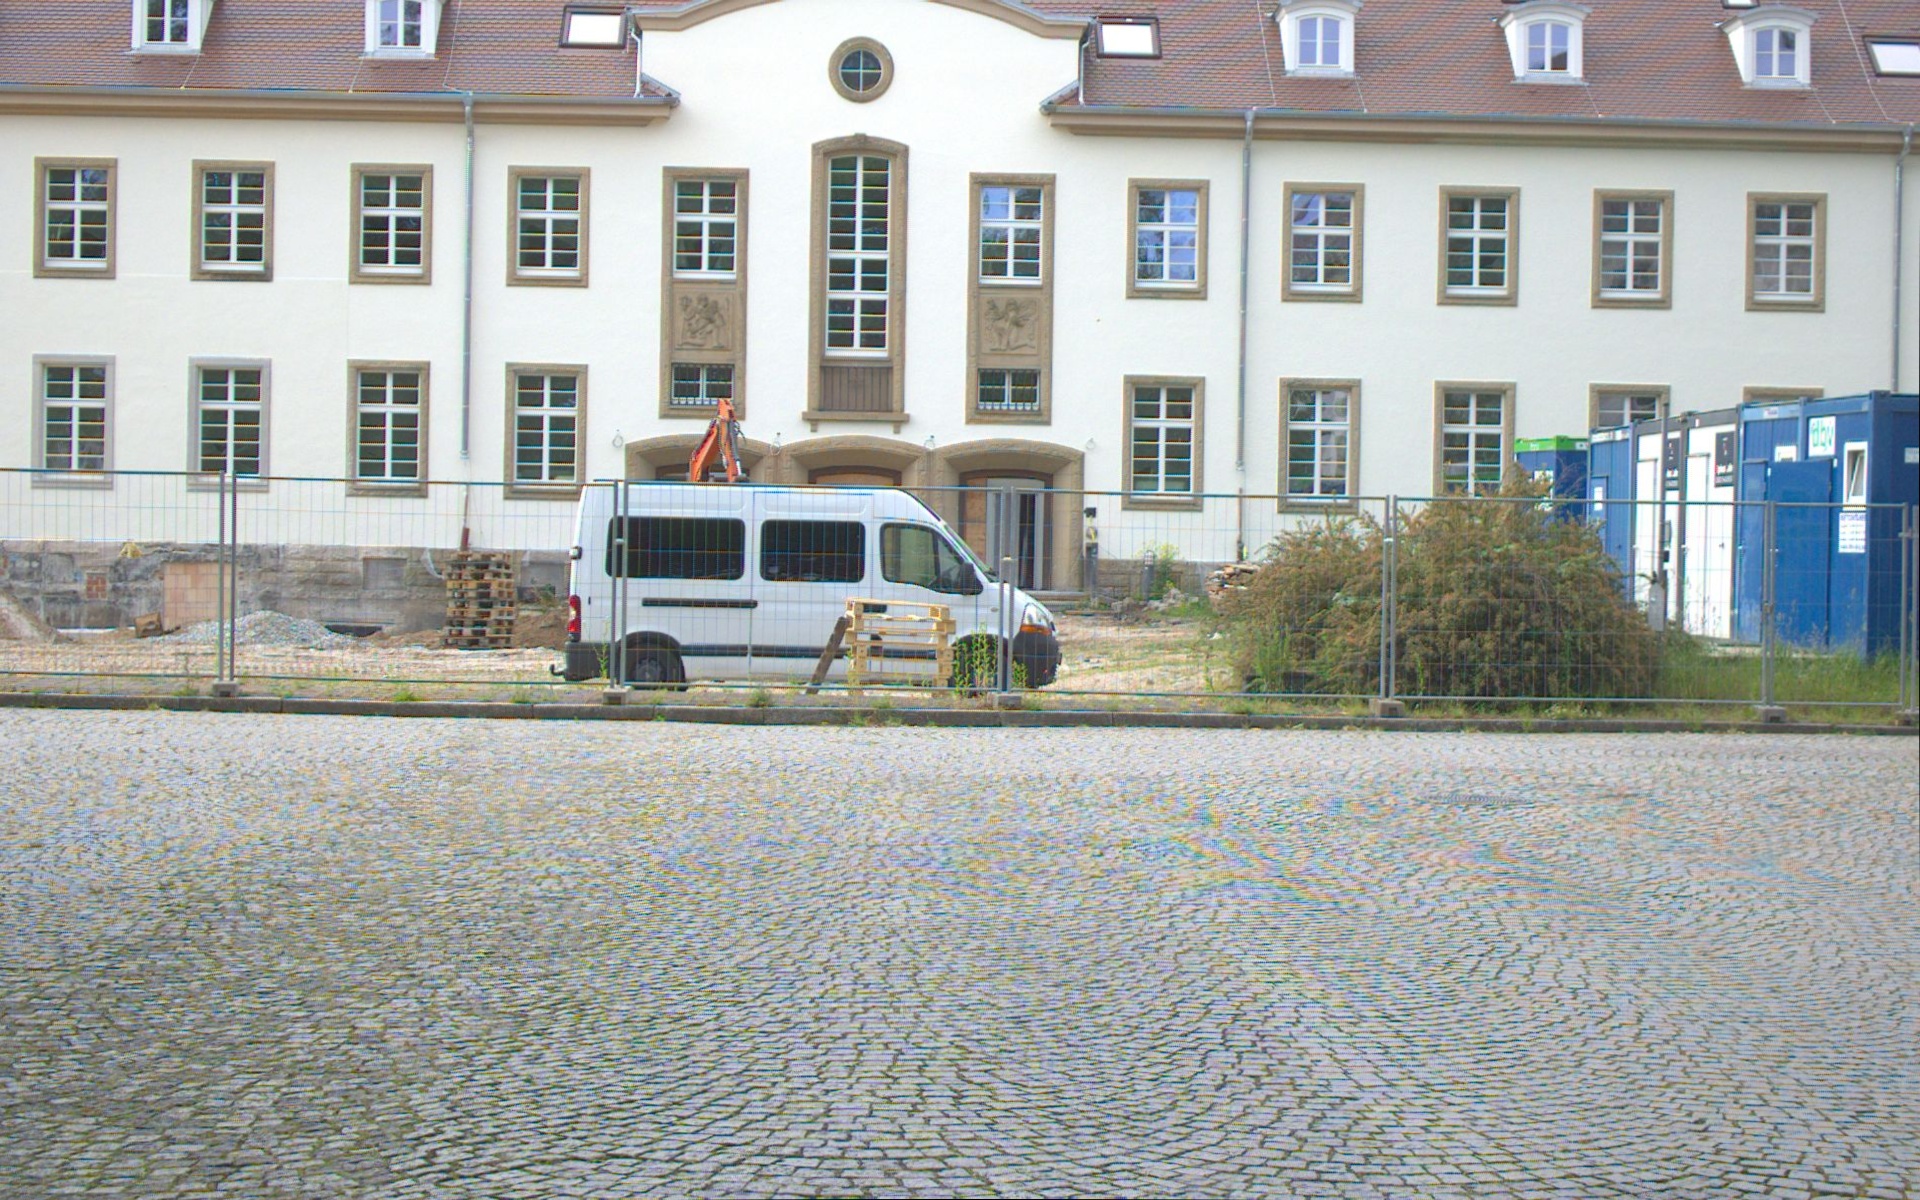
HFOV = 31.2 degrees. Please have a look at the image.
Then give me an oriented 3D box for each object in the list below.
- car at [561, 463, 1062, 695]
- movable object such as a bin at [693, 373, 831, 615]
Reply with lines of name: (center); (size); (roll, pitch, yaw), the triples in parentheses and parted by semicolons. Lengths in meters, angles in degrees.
car: (-1.581, -0.240, 37.443); (5.262, 2.336, 1.910); (1, 1, 0)
movable object such as a bin: (-3.335, -1.718, 56.994); (1.993, 3.758, 5.319); (1, 1, -6)
